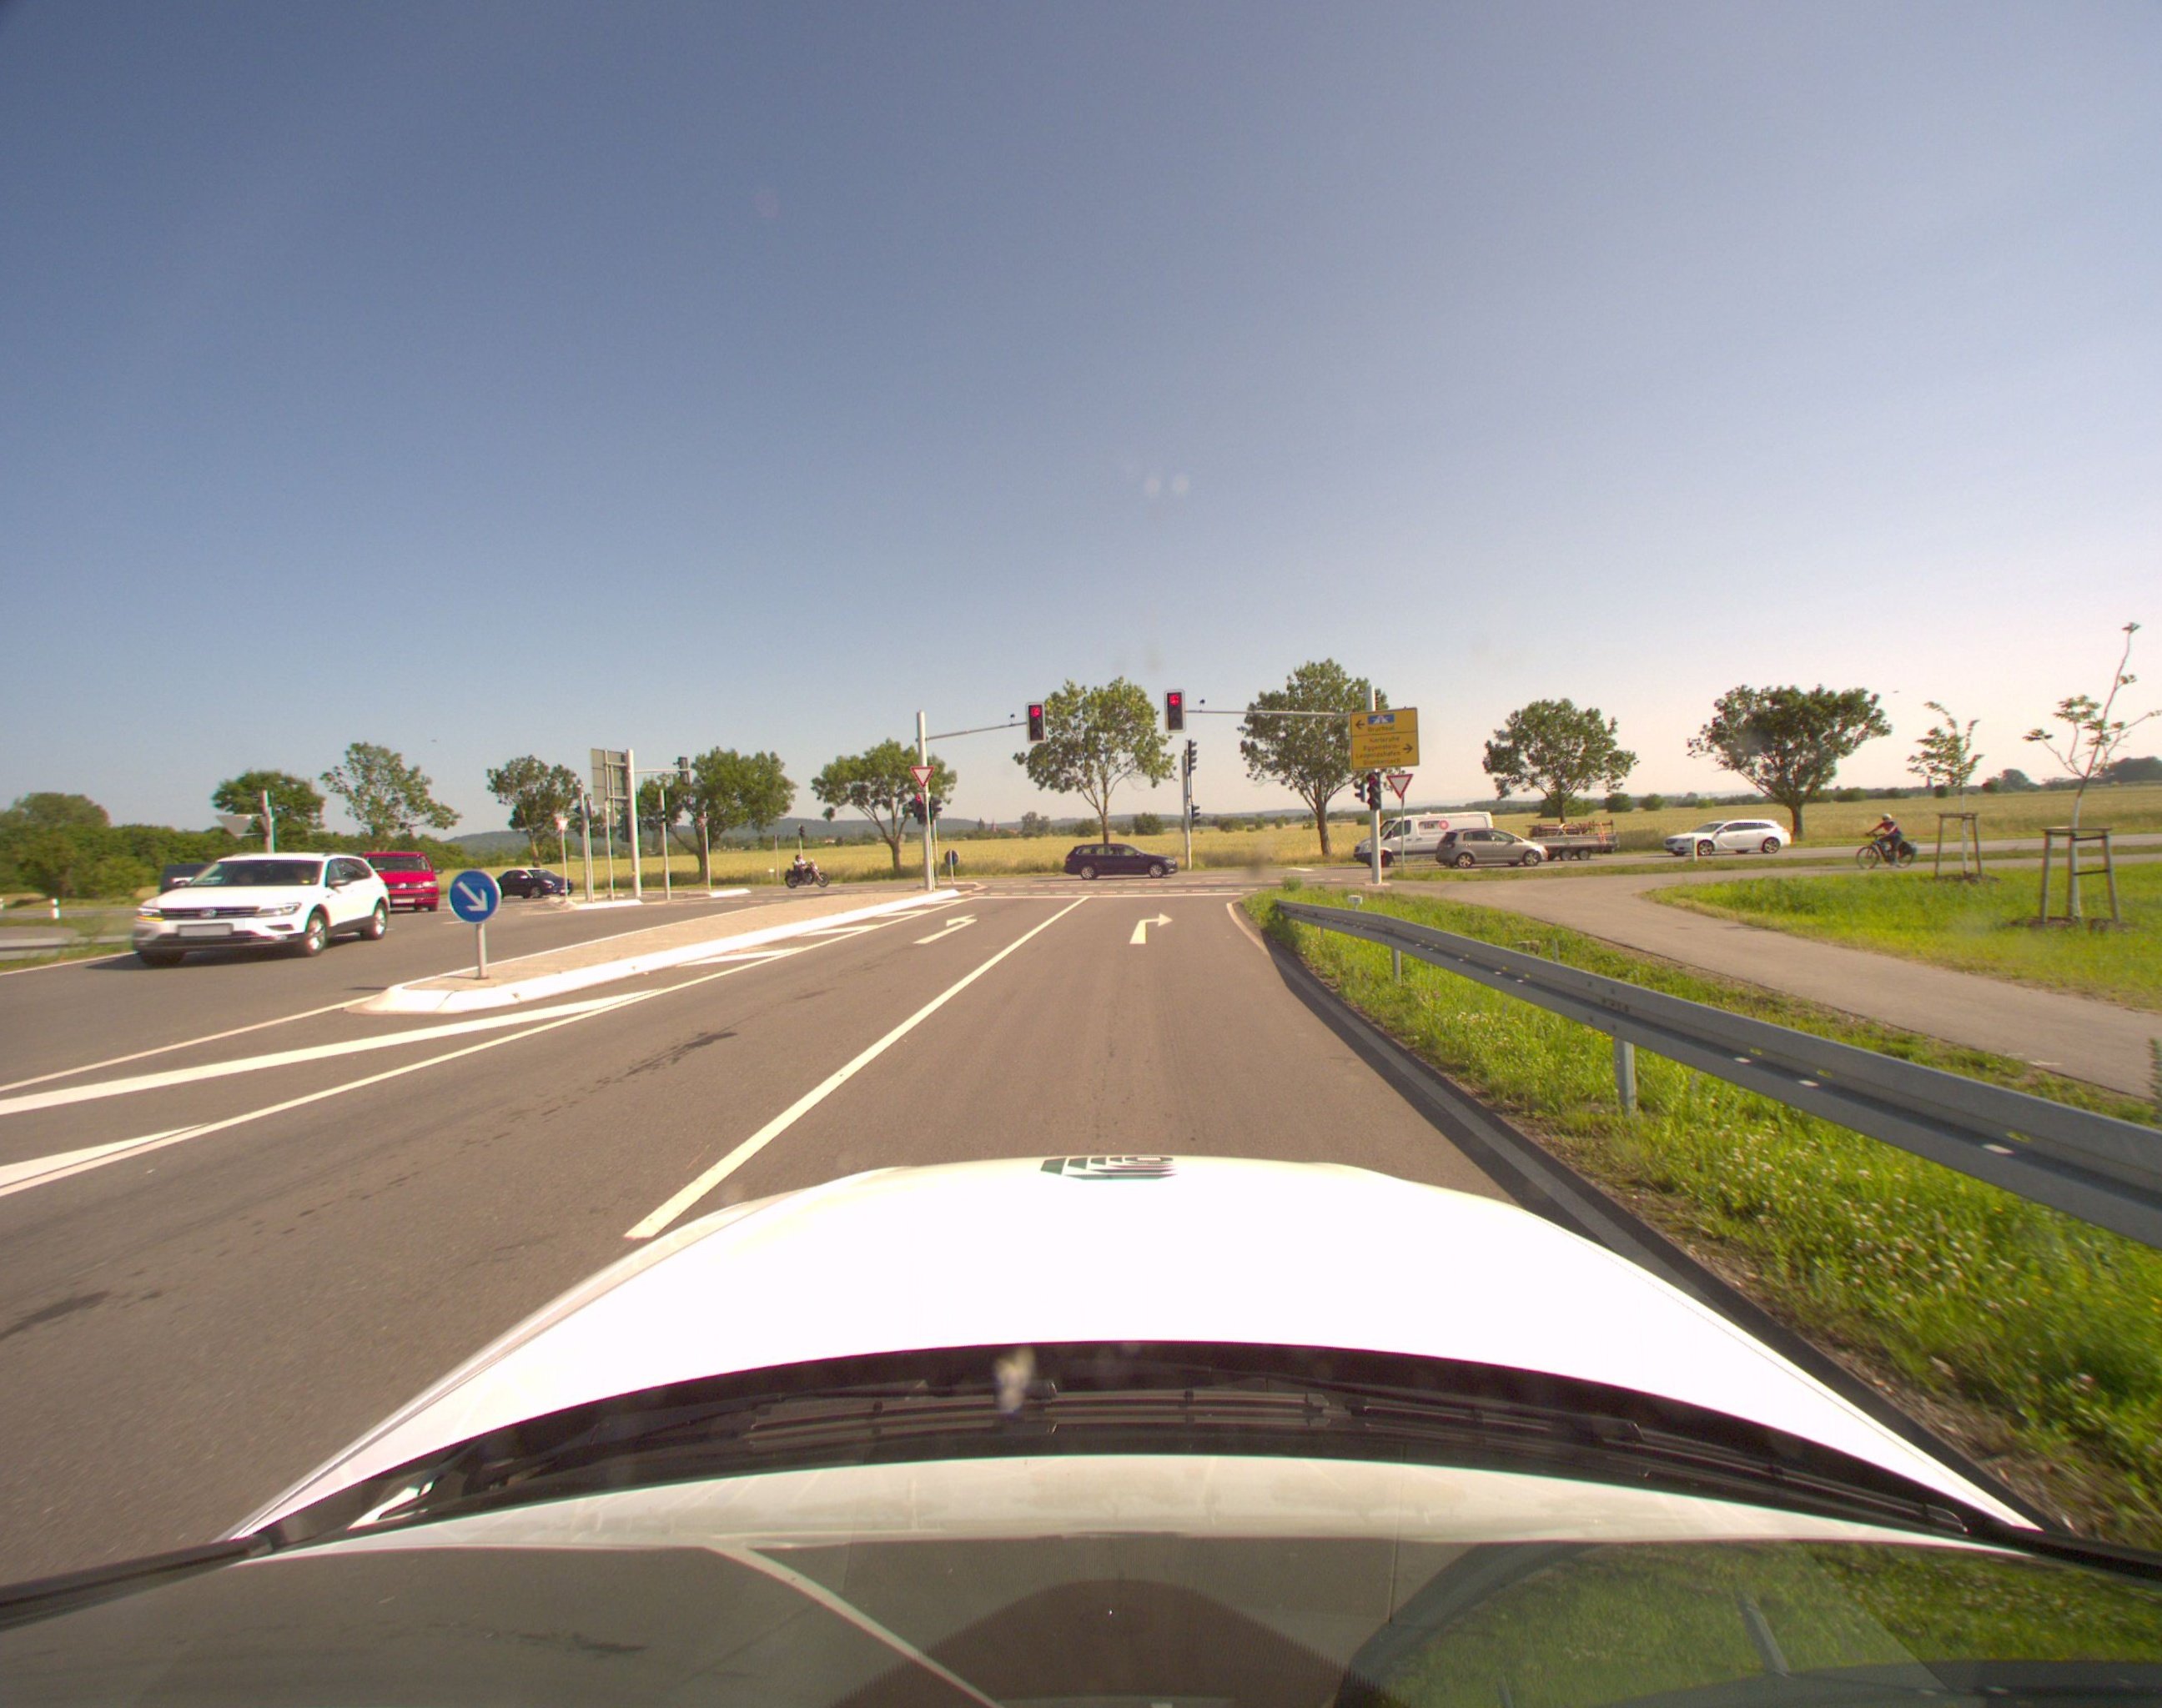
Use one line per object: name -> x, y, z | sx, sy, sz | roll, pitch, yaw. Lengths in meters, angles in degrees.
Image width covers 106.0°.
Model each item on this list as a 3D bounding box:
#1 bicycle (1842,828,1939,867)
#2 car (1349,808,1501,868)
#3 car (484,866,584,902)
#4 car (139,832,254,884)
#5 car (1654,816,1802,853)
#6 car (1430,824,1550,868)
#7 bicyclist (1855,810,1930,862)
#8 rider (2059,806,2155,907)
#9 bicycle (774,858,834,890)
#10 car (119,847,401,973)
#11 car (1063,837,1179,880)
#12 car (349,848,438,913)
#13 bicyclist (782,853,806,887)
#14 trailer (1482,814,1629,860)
bicycle -> 25.926, -0.207, 26.111 | 2.147, 1.186, 0.891 | -2, 0, 2
car -> 15.254, -0.698, 36.376 | 5.928, 2.492, 2.003 | -1, 0, 5
car -> -26.070, 1.425, 38.869 | 3.703, 1.457, 1.734 | -3, 1, 11
car -> -49.410, 0.237, 45.507 | 5.685, 2.622, 2.043 | -2, 1, 18
car -> 28.159, -0.843, 35.571 | 4.849, 1.510, 2.001 | -1, 0, 2
car -> 16.295, -0.307, 32.609 | 3.937, 1.668, 1.766 | -1, 0, 4
bicyclist -> 25.968, -0.577, 26.085 | 1.273, 1.601, 1.166 | -2, 2, 3
rider -> 17.676, 0.030, 14.056 | 0.826, 1.642, 0.979 | -5, 3, -41
bicycle -> -12.682, 0.917, 37.289 | 2.481, 1.397, 0.732 | -1, 0, 1
car -> -13.217, 0.834, 13.547 | 1.700, 1.673, 4.823 | -1, -1, -25
car -> 1.706, 0.157, 33.761 | 4.649, 1.518, 1.926 | -2, 2, 6
car -> -22.474, 0.910, 26.543 | 1.850, 1.940, 4.864 | 0, -3, -44
bicyclist -> -13.123, 0.726, 37.250 | 0.804, 1.489, 0.758 | -1, 0, 3
trailer -> 20.793, -0.725, 35.867 | 5.235, 1.753, 1.957 | -2, 0, 5
